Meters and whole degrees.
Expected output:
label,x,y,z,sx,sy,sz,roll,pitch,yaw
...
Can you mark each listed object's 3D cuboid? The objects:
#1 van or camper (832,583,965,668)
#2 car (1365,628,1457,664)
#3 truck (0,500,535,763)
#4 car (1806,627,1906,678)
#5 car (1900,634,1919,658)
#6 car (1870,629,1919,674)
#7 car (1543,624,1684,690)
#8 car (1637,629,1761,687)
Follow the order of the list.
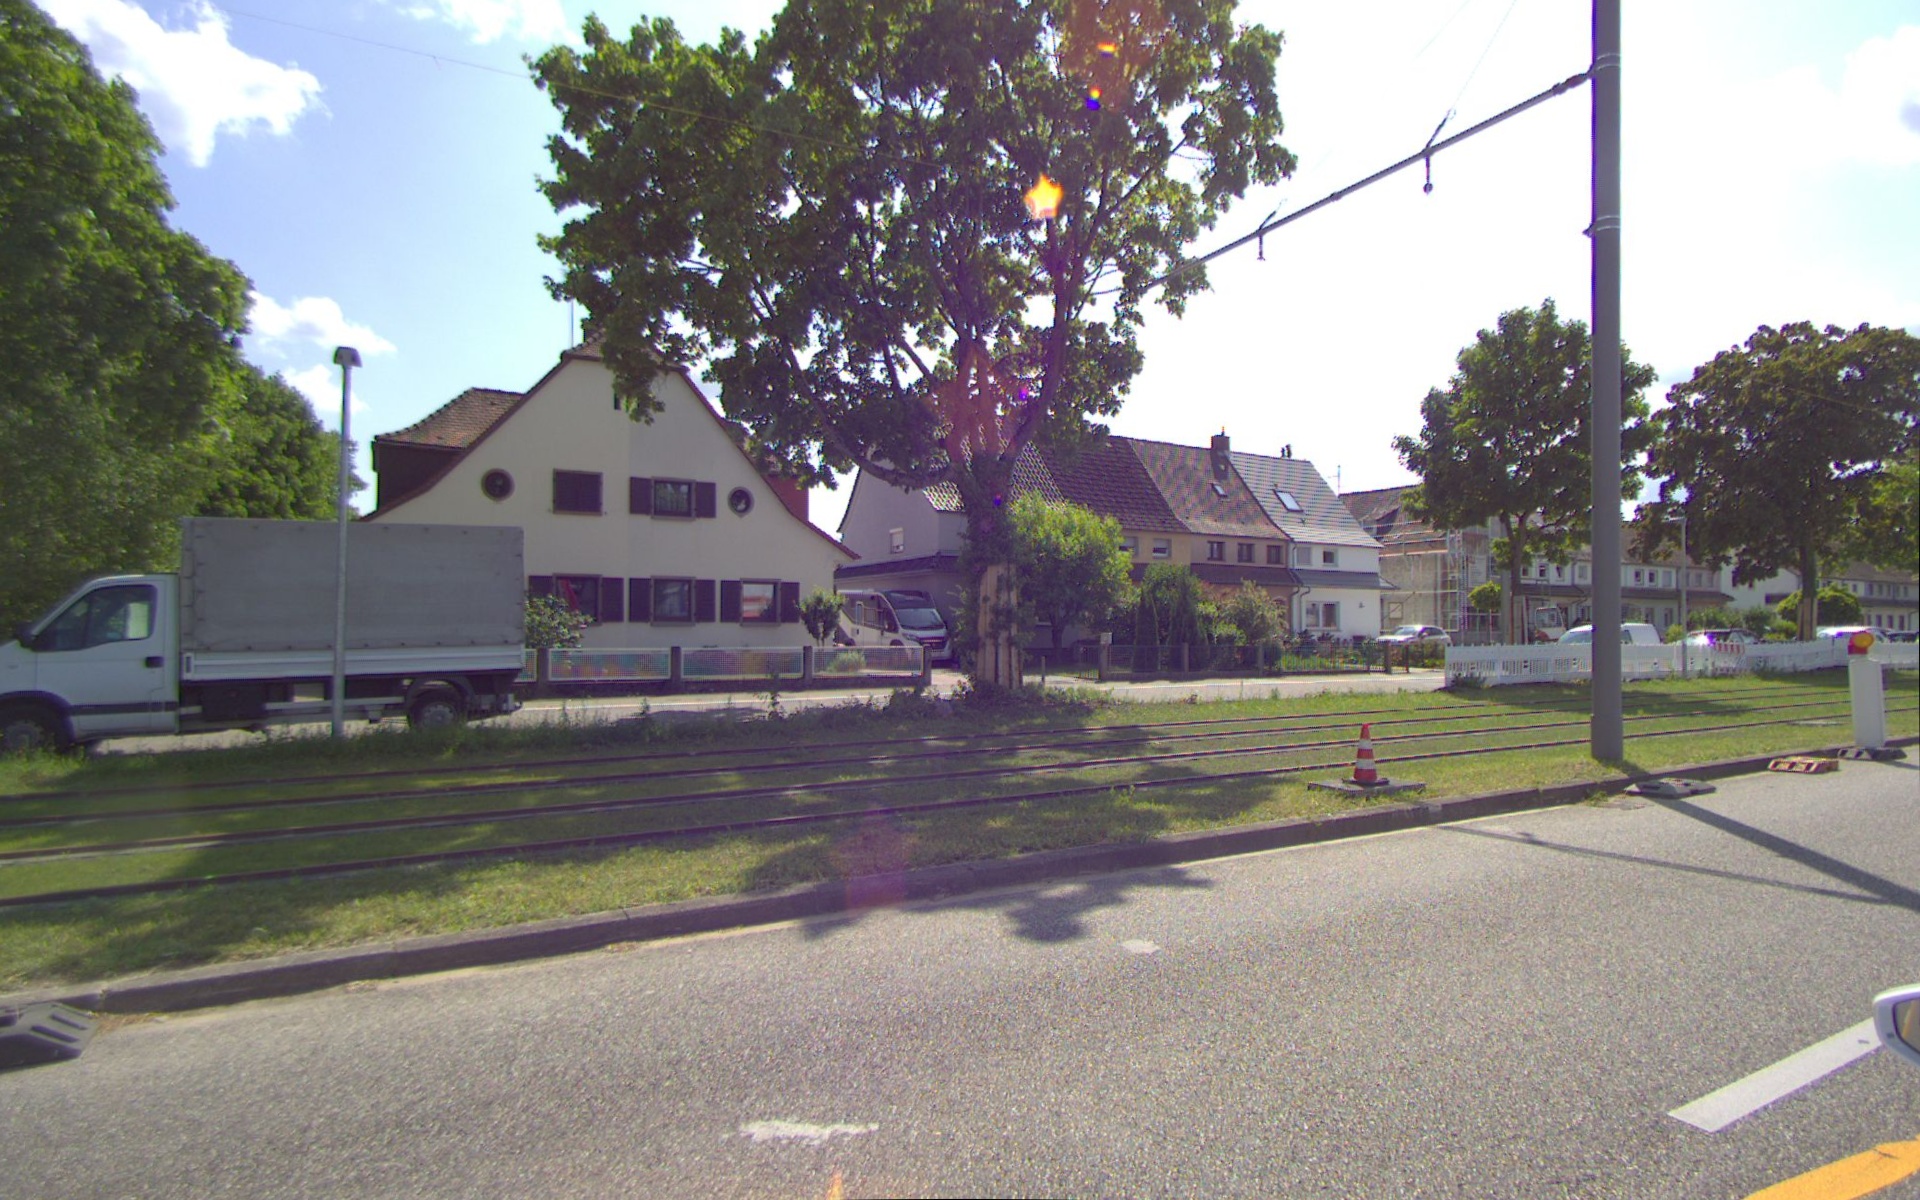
label,x,y,z,sx,sy,sz,roll,pitch,yaw
van or camper,-2.368,0.942,36.646,2.269,2.801,6.051,1,-2,-32
car,19.997,1.995,44.490,3.952,1.539,1.768,1,-2,-30
truck,-8.827,0.405,12.965,5.906,2.817,2.255,1,-2,-31
car,35.369,2.034,39.635,4.079,1.892,1.768,1,-2,-30
car,70.038,3.311,72.741,4.079,1.745,1.768,1,-2,-30
car,40.653,2.169,42.691,4.079,1.829,1.768,1,-2,-30
car,19.563,1.647,30.047,4.312,1.845,1.768,1,-2,-30
car,24.298,1.846,32.995,4.177,1.797,1.768,1,-2,-30
